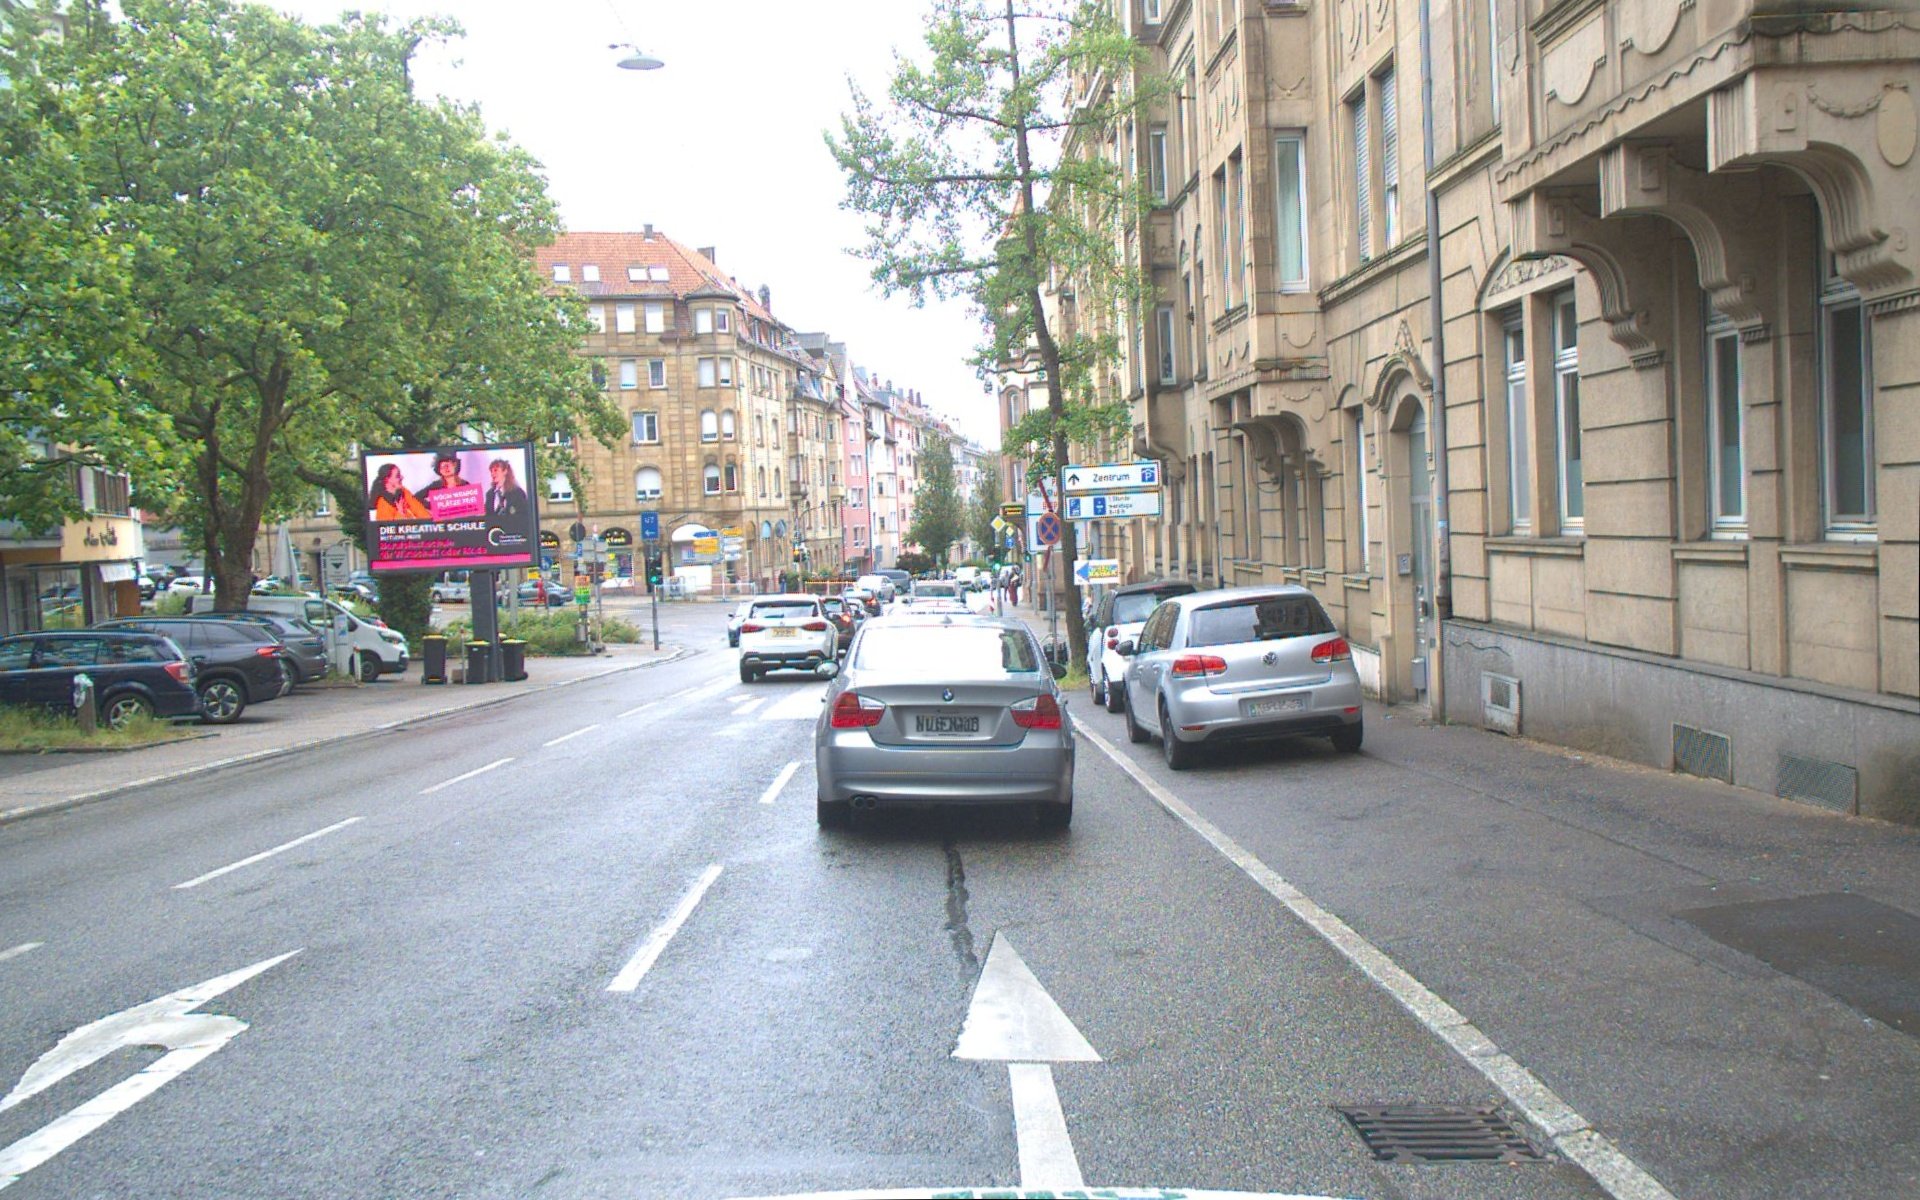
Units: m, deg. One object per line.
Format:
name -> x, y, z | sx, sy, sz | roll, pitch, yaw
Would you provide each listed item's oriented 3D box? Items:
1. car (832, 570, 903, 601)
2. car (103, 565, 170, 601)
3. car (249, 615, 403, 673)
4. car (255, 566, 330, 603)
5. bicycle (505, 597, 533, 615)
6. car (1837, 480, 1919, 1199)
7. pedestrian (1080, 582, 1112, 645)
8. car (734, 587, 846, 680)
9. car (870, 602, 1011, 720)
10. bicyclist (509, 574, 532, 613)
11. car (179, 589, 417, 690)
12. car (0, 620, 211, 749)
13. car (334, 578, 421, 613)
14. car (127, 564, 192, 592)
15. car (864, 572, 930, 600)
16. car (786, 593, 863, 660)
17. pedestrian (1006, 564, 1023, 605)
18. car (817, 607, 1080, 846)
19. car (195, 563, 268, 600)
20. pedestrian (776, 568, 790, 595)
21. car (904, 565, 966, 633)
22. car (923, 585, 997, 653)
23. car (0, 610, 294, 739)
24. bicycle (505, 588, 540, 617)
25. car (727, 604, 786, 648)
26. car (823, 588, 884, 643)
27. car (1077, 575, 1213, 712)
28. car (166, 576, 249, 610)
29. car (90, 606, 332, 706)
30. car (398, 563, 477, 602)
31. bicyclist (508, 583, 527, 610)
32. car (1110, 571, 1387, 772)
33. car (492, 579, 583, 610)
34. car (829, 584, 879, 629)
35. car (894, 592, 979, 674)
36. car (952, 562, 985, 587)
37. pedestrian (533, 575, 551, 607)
car -> -5.038, -0.800, 90.648 | 1.957, 1.606, 3.991 | 1, -1, 31
car -> -47.505, -0.983, 95.392 | 3.913, 2.049, 1.573 | -1, 0, 31
car -> -17.678, 1.207, 46.191 | 3.916, 1.476, 1.757 | -1, 0, -22
car -> -40.723, -0.957, 100.857 | 4.196, 2.138, 1.998 | 1, 2, 28
bicycle -> -21.610, 0.309, 81.032 | 0.561, 0.873, 1.522 | 1, -1, 19
car -> 2.746, 0.525, 1.356 | 1.724, 1.679, 4.098 | -6, 0, 0
pedestrian -> 3.486, 0.338, 42.368 | 0.618, 1.534, 0.693 | -6, 0, -2
car -> -3.316, 0.618, 32.944 | 1.830, 1.654, 3.999 | -3, 0, -1
car -> -0.233, 0.757, 22.440 | 1.723, 1.407, 4.000 | -1, 0, 0
bicyclist -> -21.573, -0.315, 81.173 | 0.765, 1.852, 0.771 | -3, 0, 13
car -> -15.372, 0.878, 38.613 | 4.989, 2.142, 1.979 | -1, 0, -22
car -> -12.963, 1.197, 23.266 | 4.299, 1.601, 1.929 | -3, 0, -24
car -> -29.933, -0.248, 84.986 | 4.156, 1.756, 1.997 | 0, 2, 30
car -> -51.312, -1.429, 106.012 | 3.909, 1.718, 1.726 | 1, -1, 27
car -> -4.899, -1.112, 129.515 | 5.072, 2.049, 2.698 | 1, -1, -1
car -> -3.658, 0.683, 45.100 | 1.723, 1.737, 4.000 | -1, 0, 0
pedestrian -> 2.622, -0.730, 79.602 | 0.727, 1.943, 0.659 | -2, 0, -2
car -> -0.059, 0.777, 11.892 | 1.590, 1.407, 3.615 | -1, 0, 0
car -> -45.380, -1.173, 103.048 | 4.196, 2.138, 1.998 | 1, 2, 28
pedestrian -> -10.713, -1.094, 99.985 | 0.716, 1.605, 0.528 | -2, 0, 8
car -> -0.825, -0.020, 54.749 | 1.953, 2.143, 3.999 | 0, 0, -1
car -> -0.055, 0.431, 41.541 | 1.724, 1.594, 3.999 | -1, 1, -2
car -> -12.844, 1.122, 26.017 | 4.308, 1.701, 1.842 | -3, 0, -24
bicycle -> -21.529, 0.097, 81.473 | 0.657, 1.343, 2.278 | -3, 0, 12
car -> -7.288, 0.916, 59.450 | 1.680, 1.476, 3.741 | -2, 0, -1
car -> -3.482, 0.484, 54.649 | 1.723, 1.737, 4.000 | -1, 0, 0
car -> 2.403, 0.532, 22.053 | 1.273, 1.569, 2.975 | -6, 0, -1
car -> -41.555, -0.380, 91.325 | 4.155, 1.756, 1.998 | 0, 3, 29
car -> -14.983, 1.087, 33.356 | 4.295, 1.815, 1.927 | -1, 0, -22
car -> -30.221, -1.046, 95.577 | 4.196, 2.138, 1.998 | 1, 2, 28
bicyclist -> -21.652, -0.162, 80.909 | 0.557, 1.295, 0.689 | 1, -1, 20
car -> 2.569, 0.583, 15.662 | 1.725, 1.476, 3.999 | -6, 0, -1
car -> -23.207, -0.270, 90.977 | 4.548, 1.606, 1.998 | 1, -1, -5
car -> -4.214, 0.231, 66.225 | 1.723, 1.737, 4.000 | -1, 0, 0
car -> -0.427, 0.603, 32.726 | 1.562, 1.490, 4.000 | 1, 0, 0
car -> 0.623, -1.747, 115.670 | 1.951, 1.606, 4.002 | 1, -1, 5
pedestrian -> -21.562, -0.464, 85.381 | 0.525, 1.605, 0.719 | -2, 0, 21
